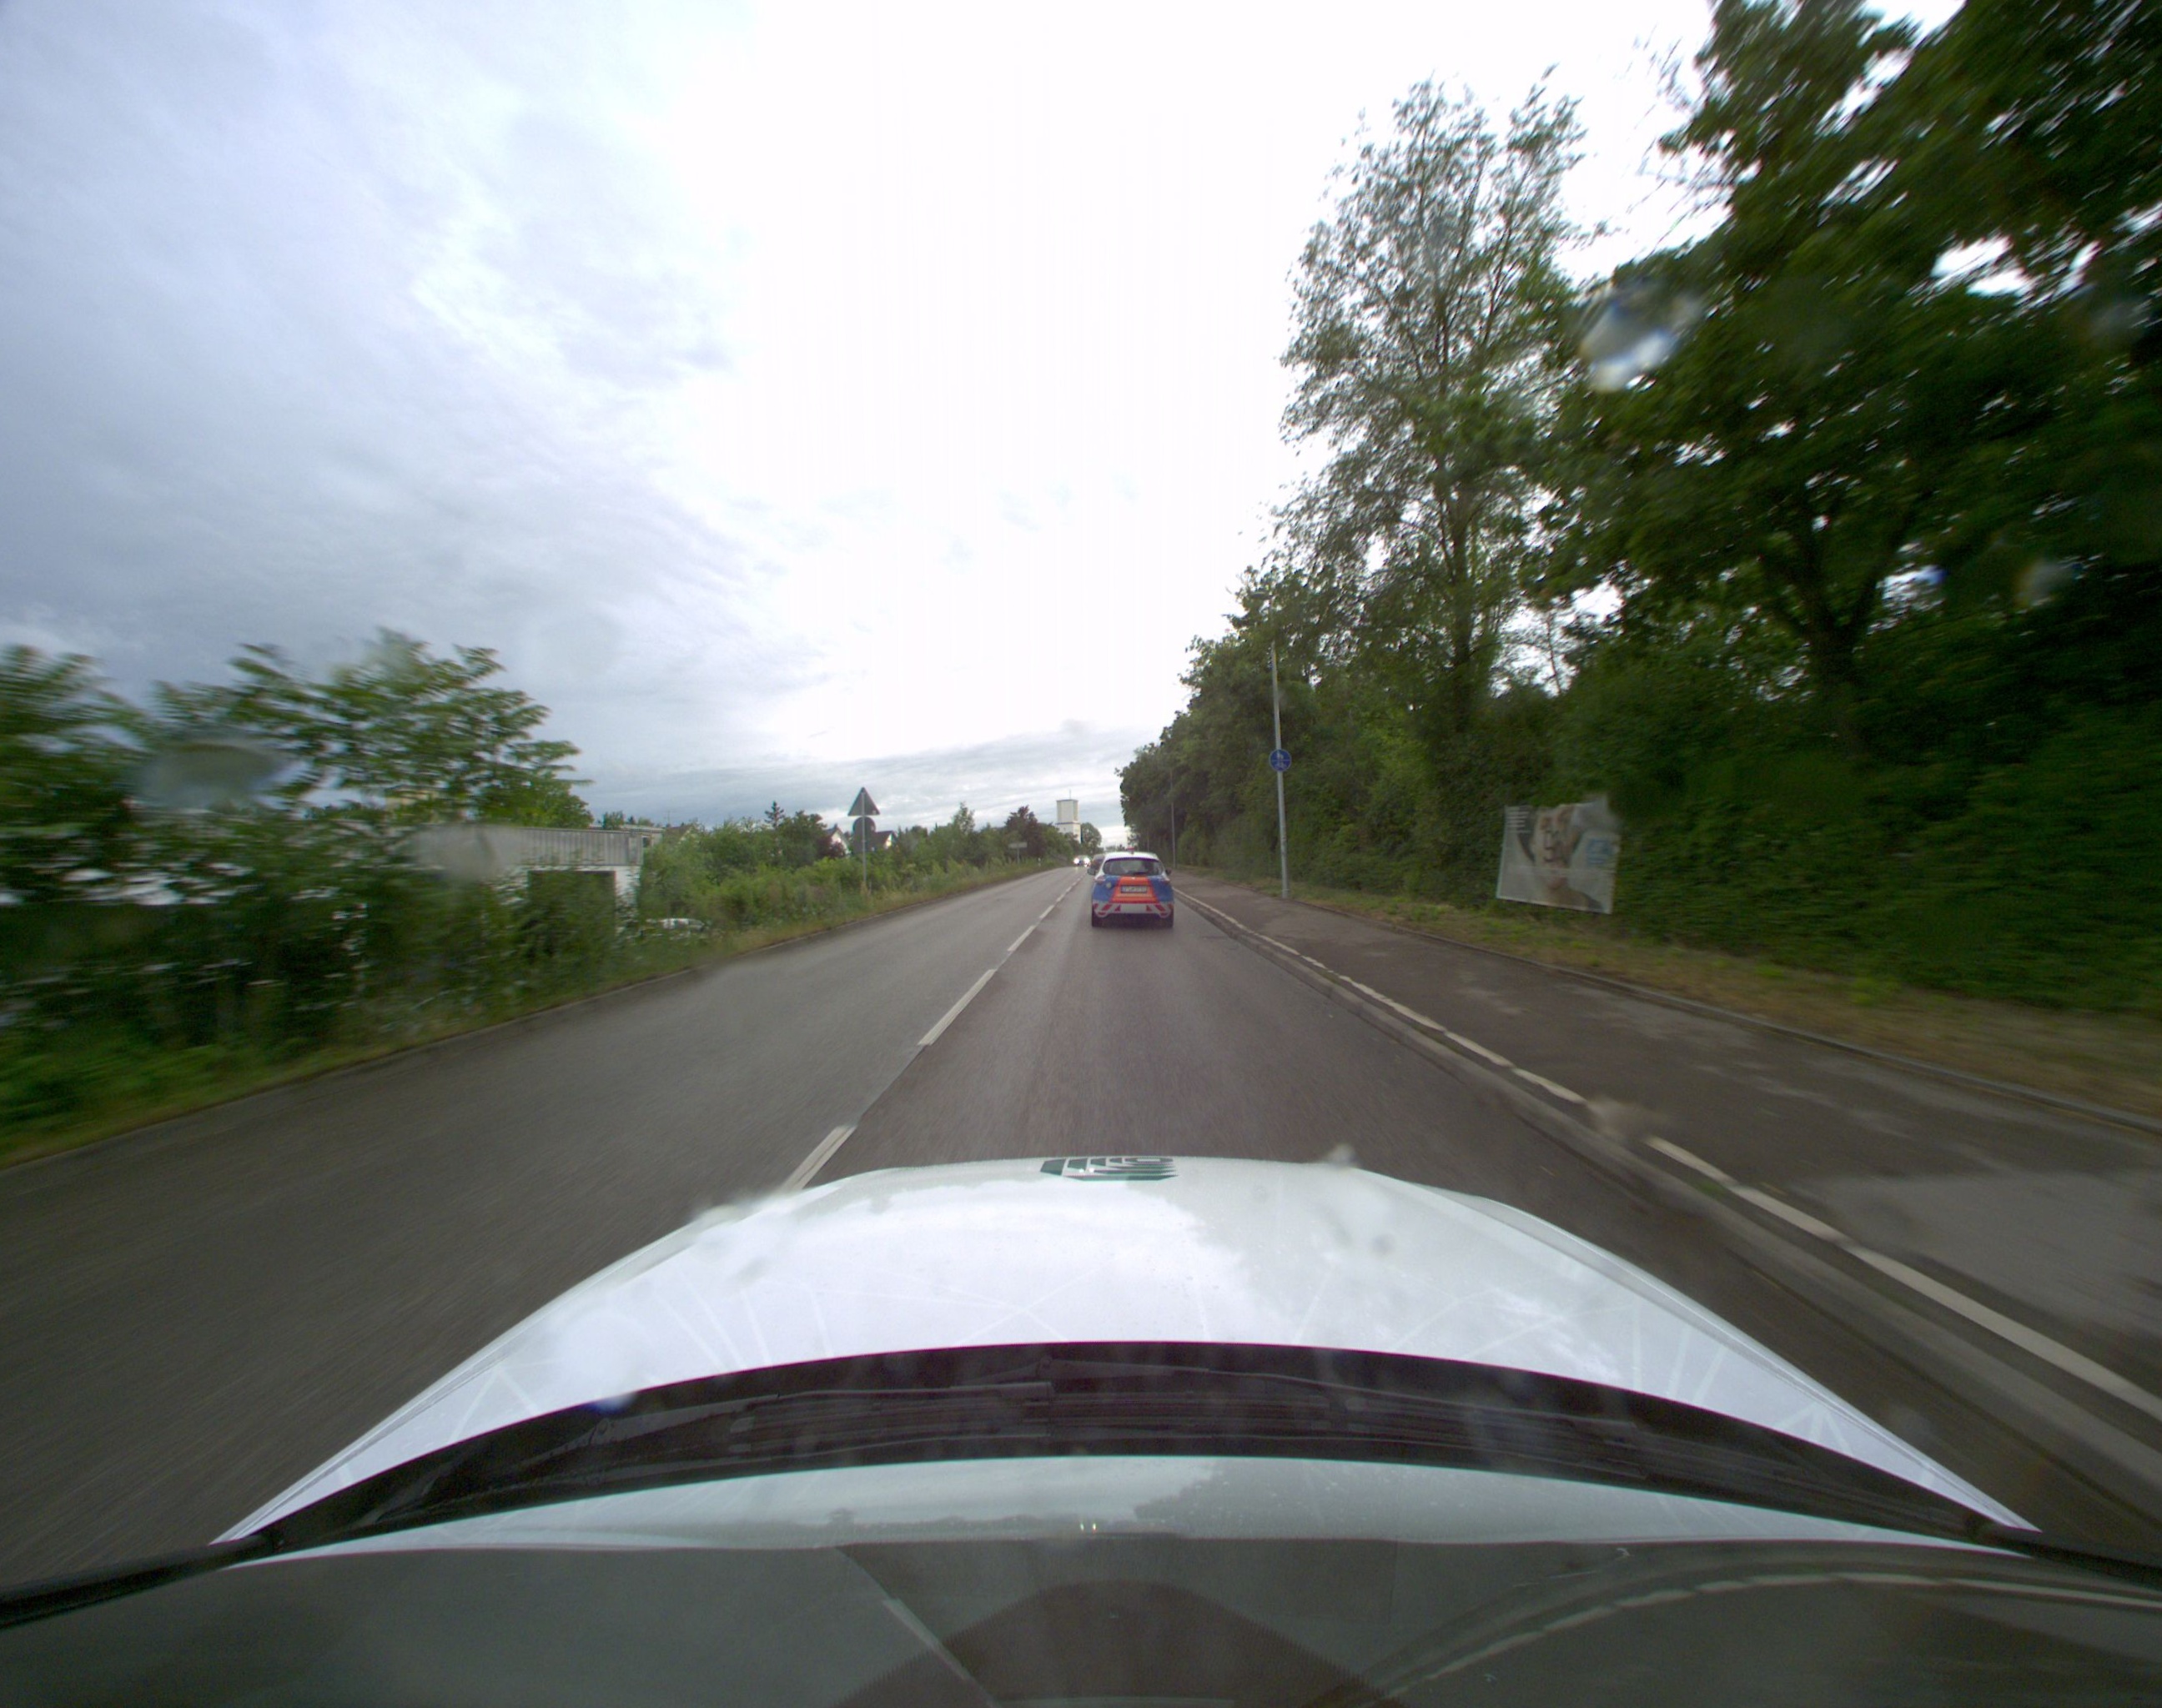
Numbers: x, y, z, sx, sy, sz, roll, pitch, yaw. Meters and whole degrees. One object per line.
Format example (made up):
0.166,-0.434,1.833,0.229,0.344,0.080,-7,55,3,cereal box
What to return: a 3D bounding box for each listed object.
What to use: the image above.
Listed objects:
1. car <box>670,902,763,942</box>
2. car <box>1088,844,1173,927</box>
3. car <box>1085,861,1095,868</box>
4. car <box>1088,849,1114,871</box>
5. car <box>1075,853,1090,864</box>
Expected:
-21.644,4.024,48.591,1.843,1.692,4.672,-7,0,32,car
1.033,0.658,17.925,1.651,1.593,3.569,-1,-1,1,car
1.807,2.091,163.035,1.855,1.503,4.729,-1,0,1,car
1.517,0.462,62.704,1.797,1.590,3.561,-3,-1,-1,car
0.245,0.693,119.914,1.861,1.585,4.419,-1,0,4,car
